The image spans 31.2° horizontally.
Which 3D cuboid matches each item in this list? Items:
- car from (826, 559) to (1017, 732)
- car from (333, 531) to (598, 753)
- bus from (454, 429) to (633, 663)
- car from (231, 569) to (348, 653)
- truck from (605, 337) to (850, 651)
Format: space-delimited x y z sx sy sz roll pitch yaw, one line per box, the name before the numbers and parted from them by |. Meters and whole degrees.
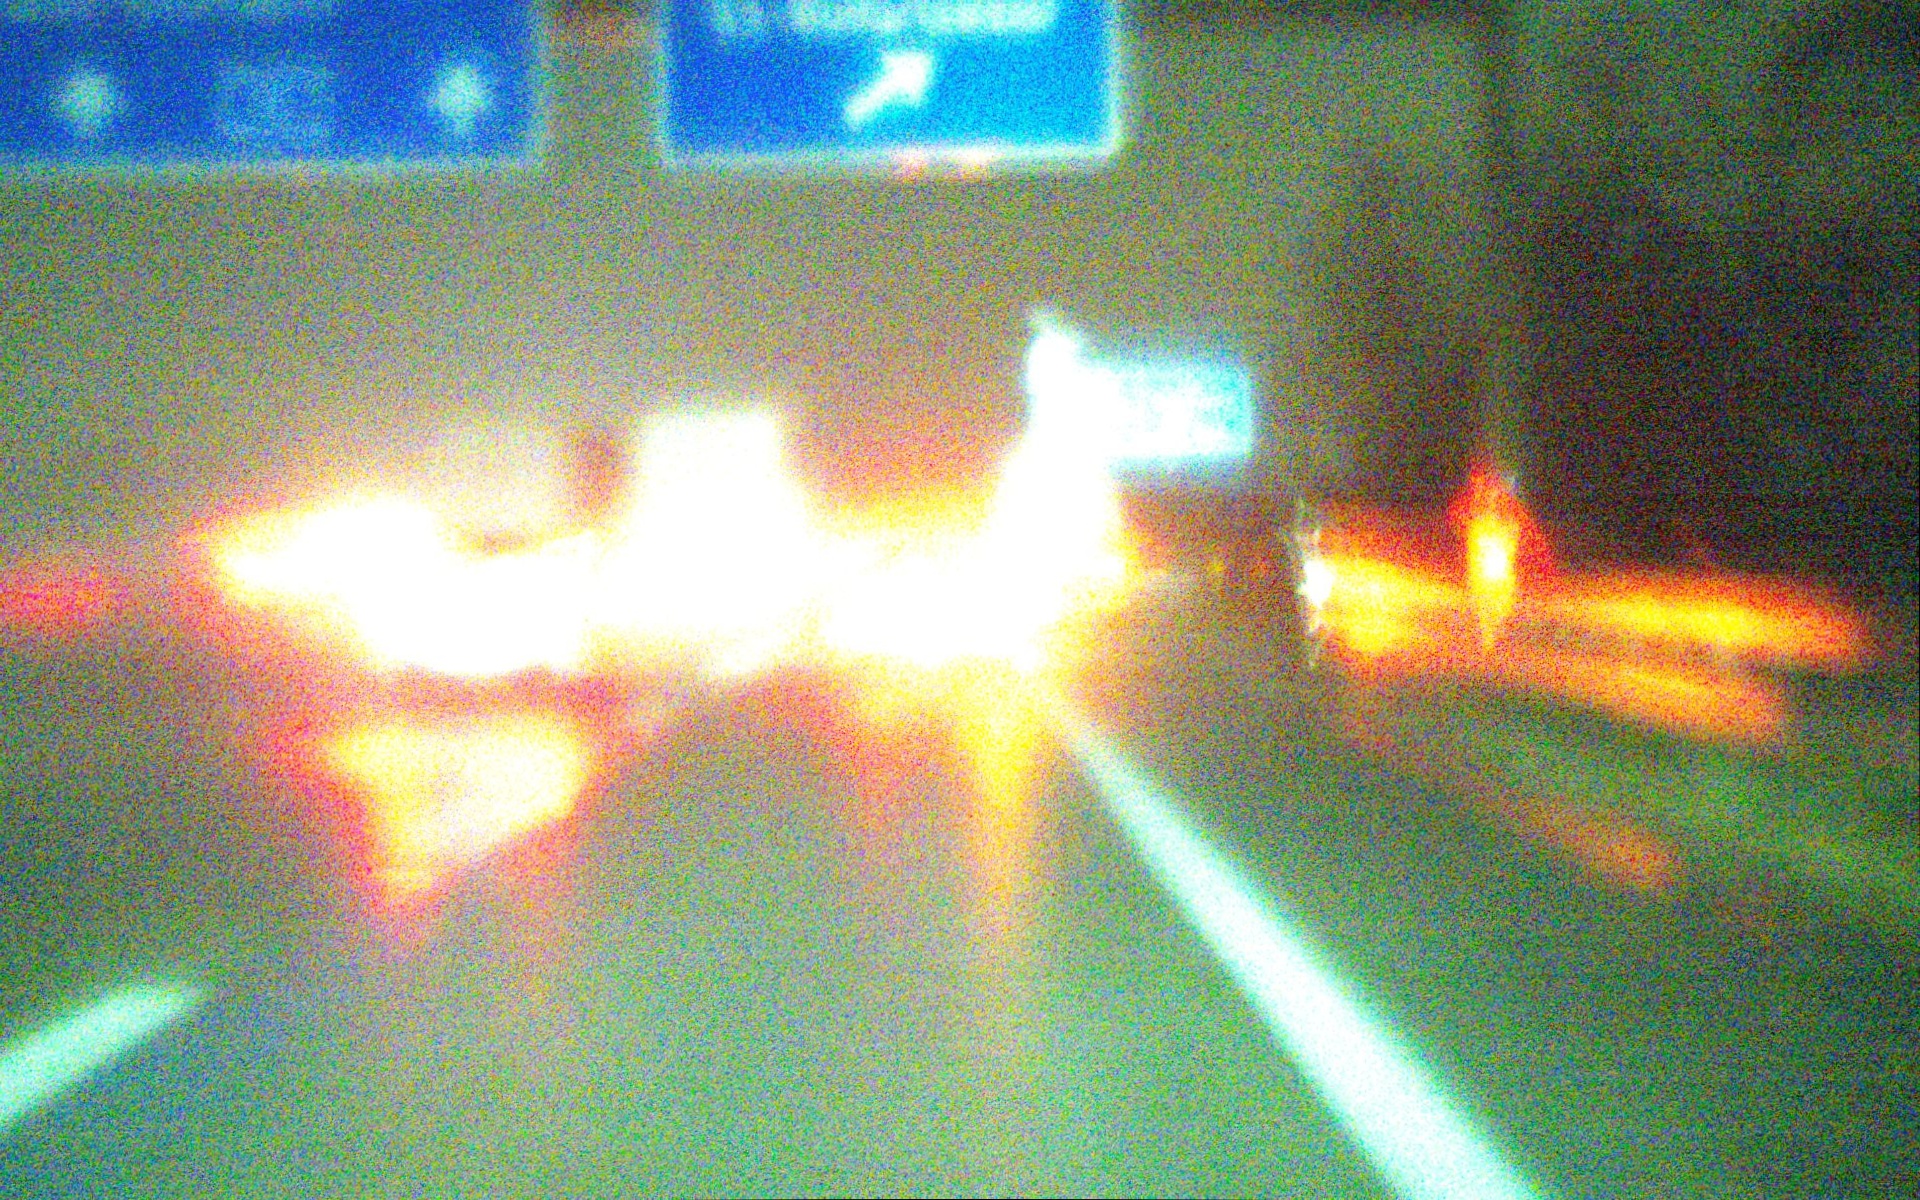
car | -0.423 0.463 38.413 1.993 1.801 4.000 1 1 -1
car | -4.790 0.360 33.931 2.125 2.007 4.646 1 1 -3
bus | -8.595 -1.112 72.122 3.096 4.492 10.915 1 1 -4
car | -13.356 0.201 68.633 1.993 1.590 4.001 1 1 -7
truck | -4.417 -1.985 68.238 4.210 5.629 11.468 1 1 -1
